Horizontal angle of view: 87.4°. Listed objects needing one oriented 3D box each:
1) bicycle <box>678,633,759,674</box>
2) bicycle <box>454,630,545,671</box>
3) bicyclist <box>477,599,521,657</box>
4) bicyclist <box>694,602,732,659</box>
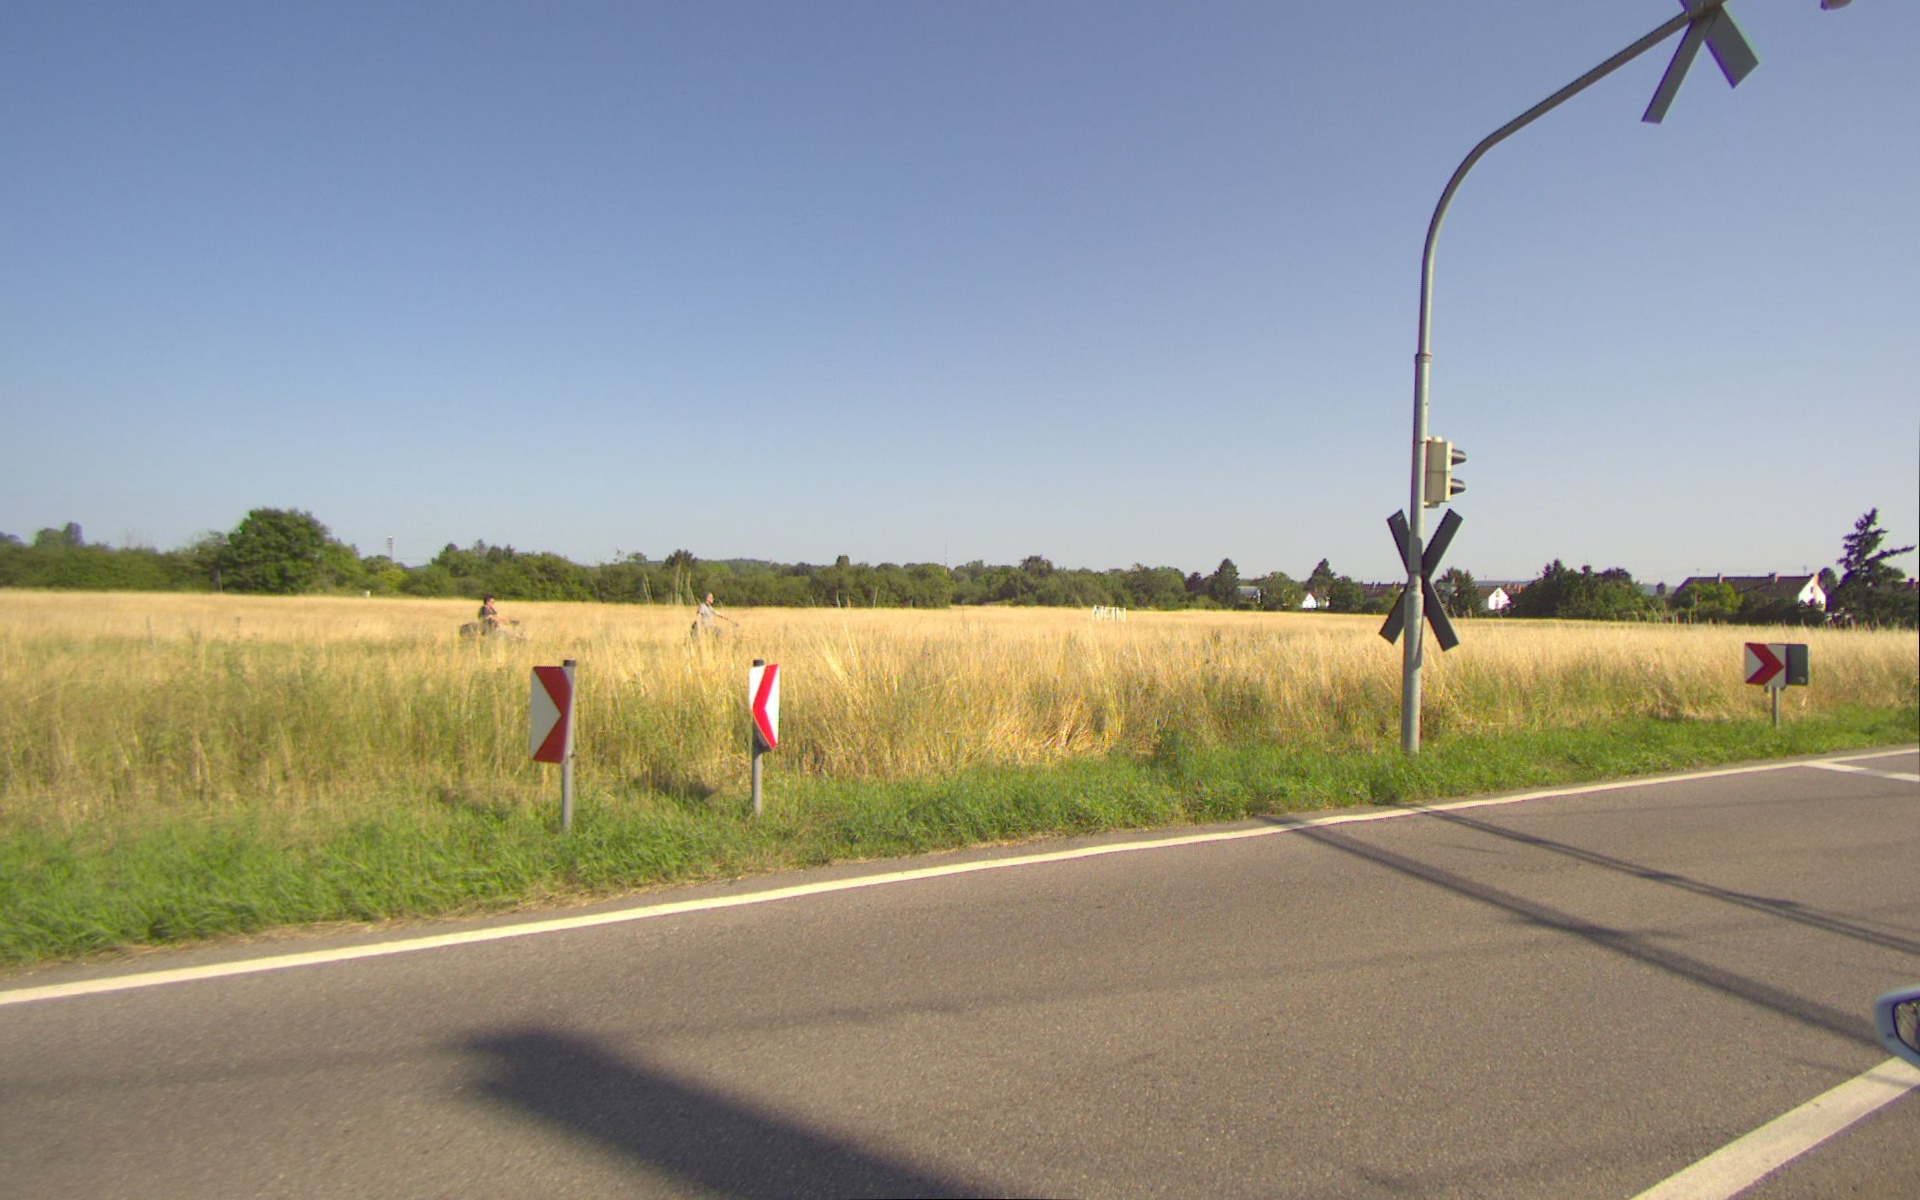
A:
[{"bbox_3d":[-5.423,1.195,22.564,1.707,0.850,0.750,2,1,-15],"label":"bicycle"},{"bbox_3d":[-10.011,1.093,21.904,1.707,0.850,0.613,1,0,-15],"label":"bicycle"},{"bbox_3d":[-10.035,0.602,21.886,0.776,1.222,0.602,1,1,-15],"label":"bicyclist"},{"bbox_3d":[-5.538,0.672,22.510,0.776,1.221,0.745,1,1,-15],"label":"bicyclist"}]
